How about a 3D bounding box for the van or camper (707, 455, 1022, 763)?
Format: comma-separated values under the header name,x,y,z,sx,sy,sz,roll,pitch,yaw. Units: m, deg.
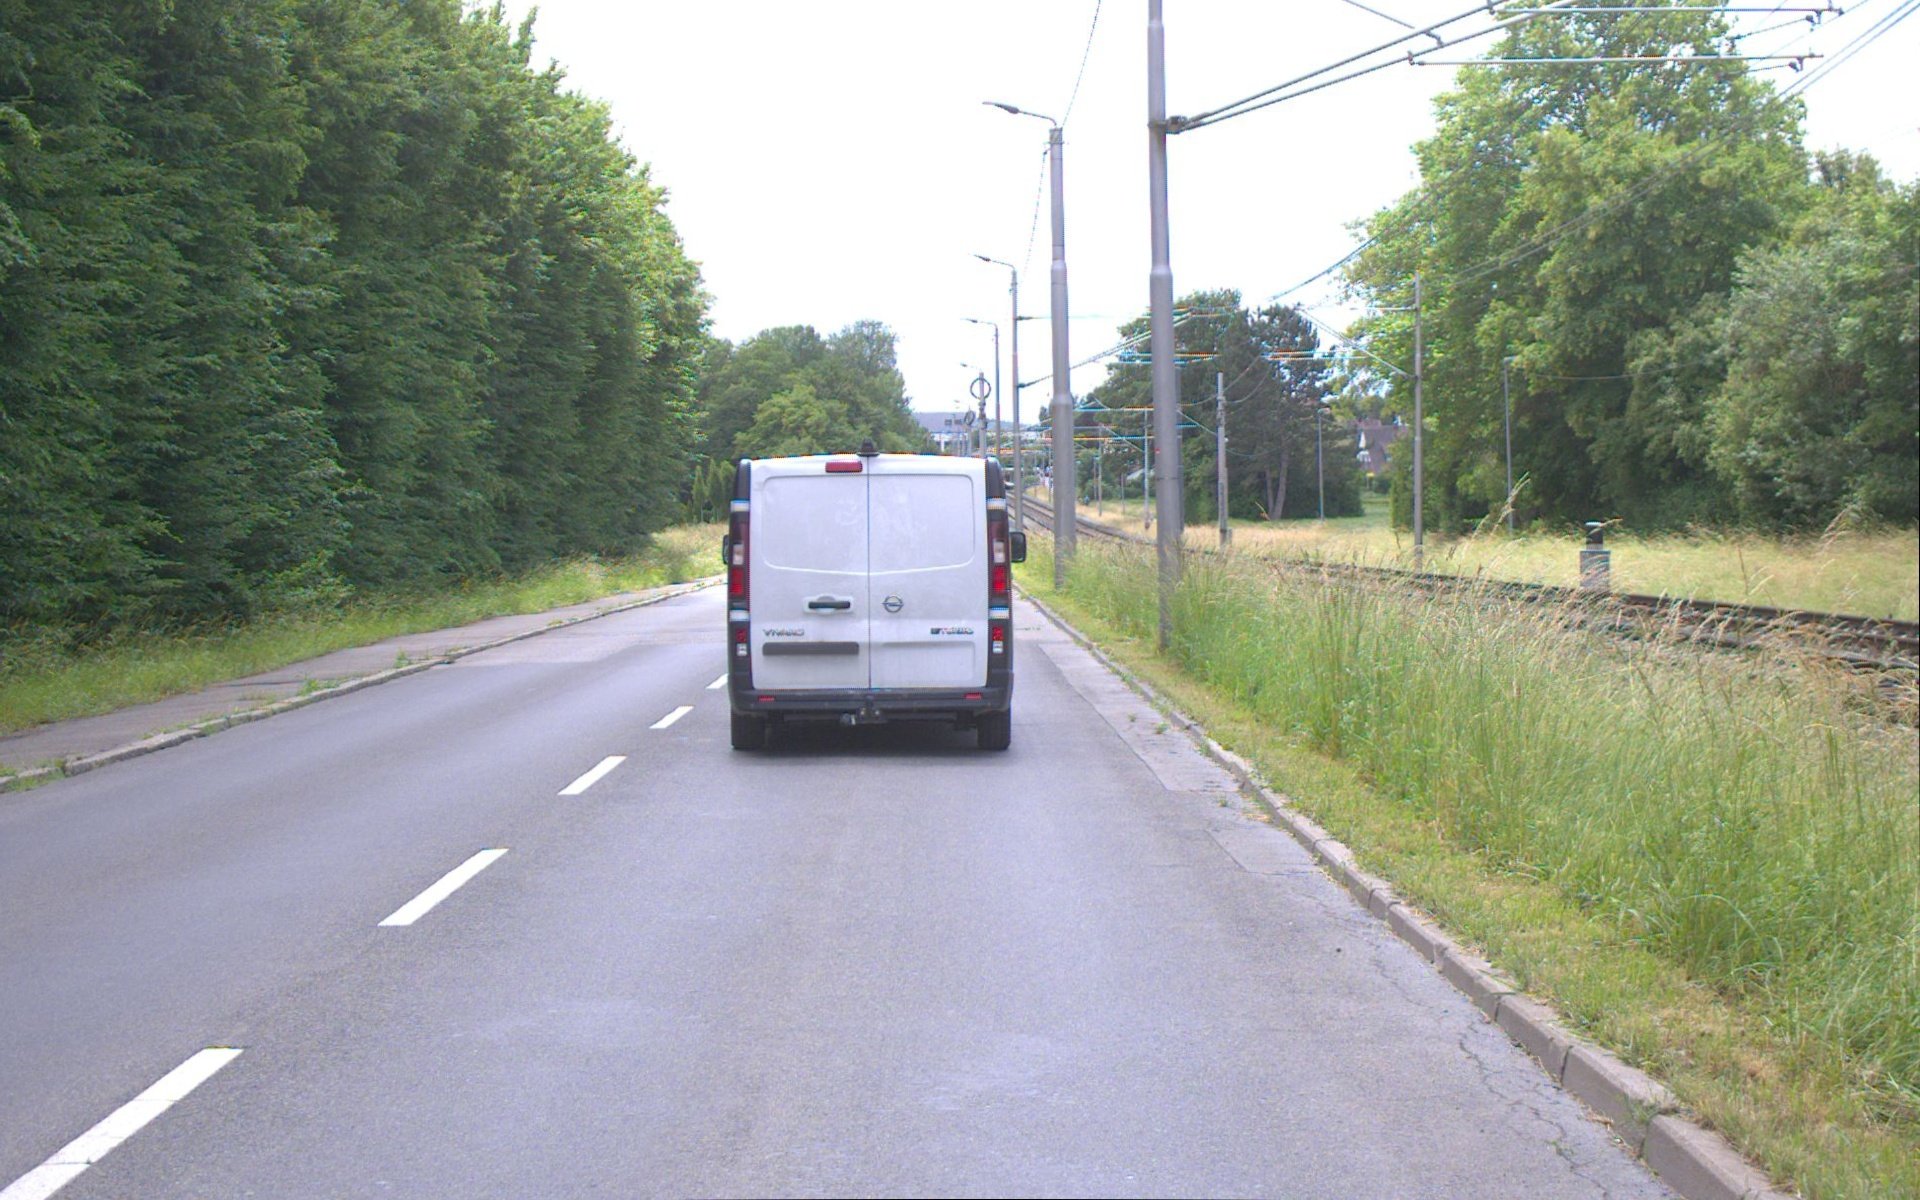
name,x,y,z,sx,sy,sz,roll,pitch,yaw
van or camper,-0.618,-0.012,23.687,1.942,1.890,4.285,1,2,-1
